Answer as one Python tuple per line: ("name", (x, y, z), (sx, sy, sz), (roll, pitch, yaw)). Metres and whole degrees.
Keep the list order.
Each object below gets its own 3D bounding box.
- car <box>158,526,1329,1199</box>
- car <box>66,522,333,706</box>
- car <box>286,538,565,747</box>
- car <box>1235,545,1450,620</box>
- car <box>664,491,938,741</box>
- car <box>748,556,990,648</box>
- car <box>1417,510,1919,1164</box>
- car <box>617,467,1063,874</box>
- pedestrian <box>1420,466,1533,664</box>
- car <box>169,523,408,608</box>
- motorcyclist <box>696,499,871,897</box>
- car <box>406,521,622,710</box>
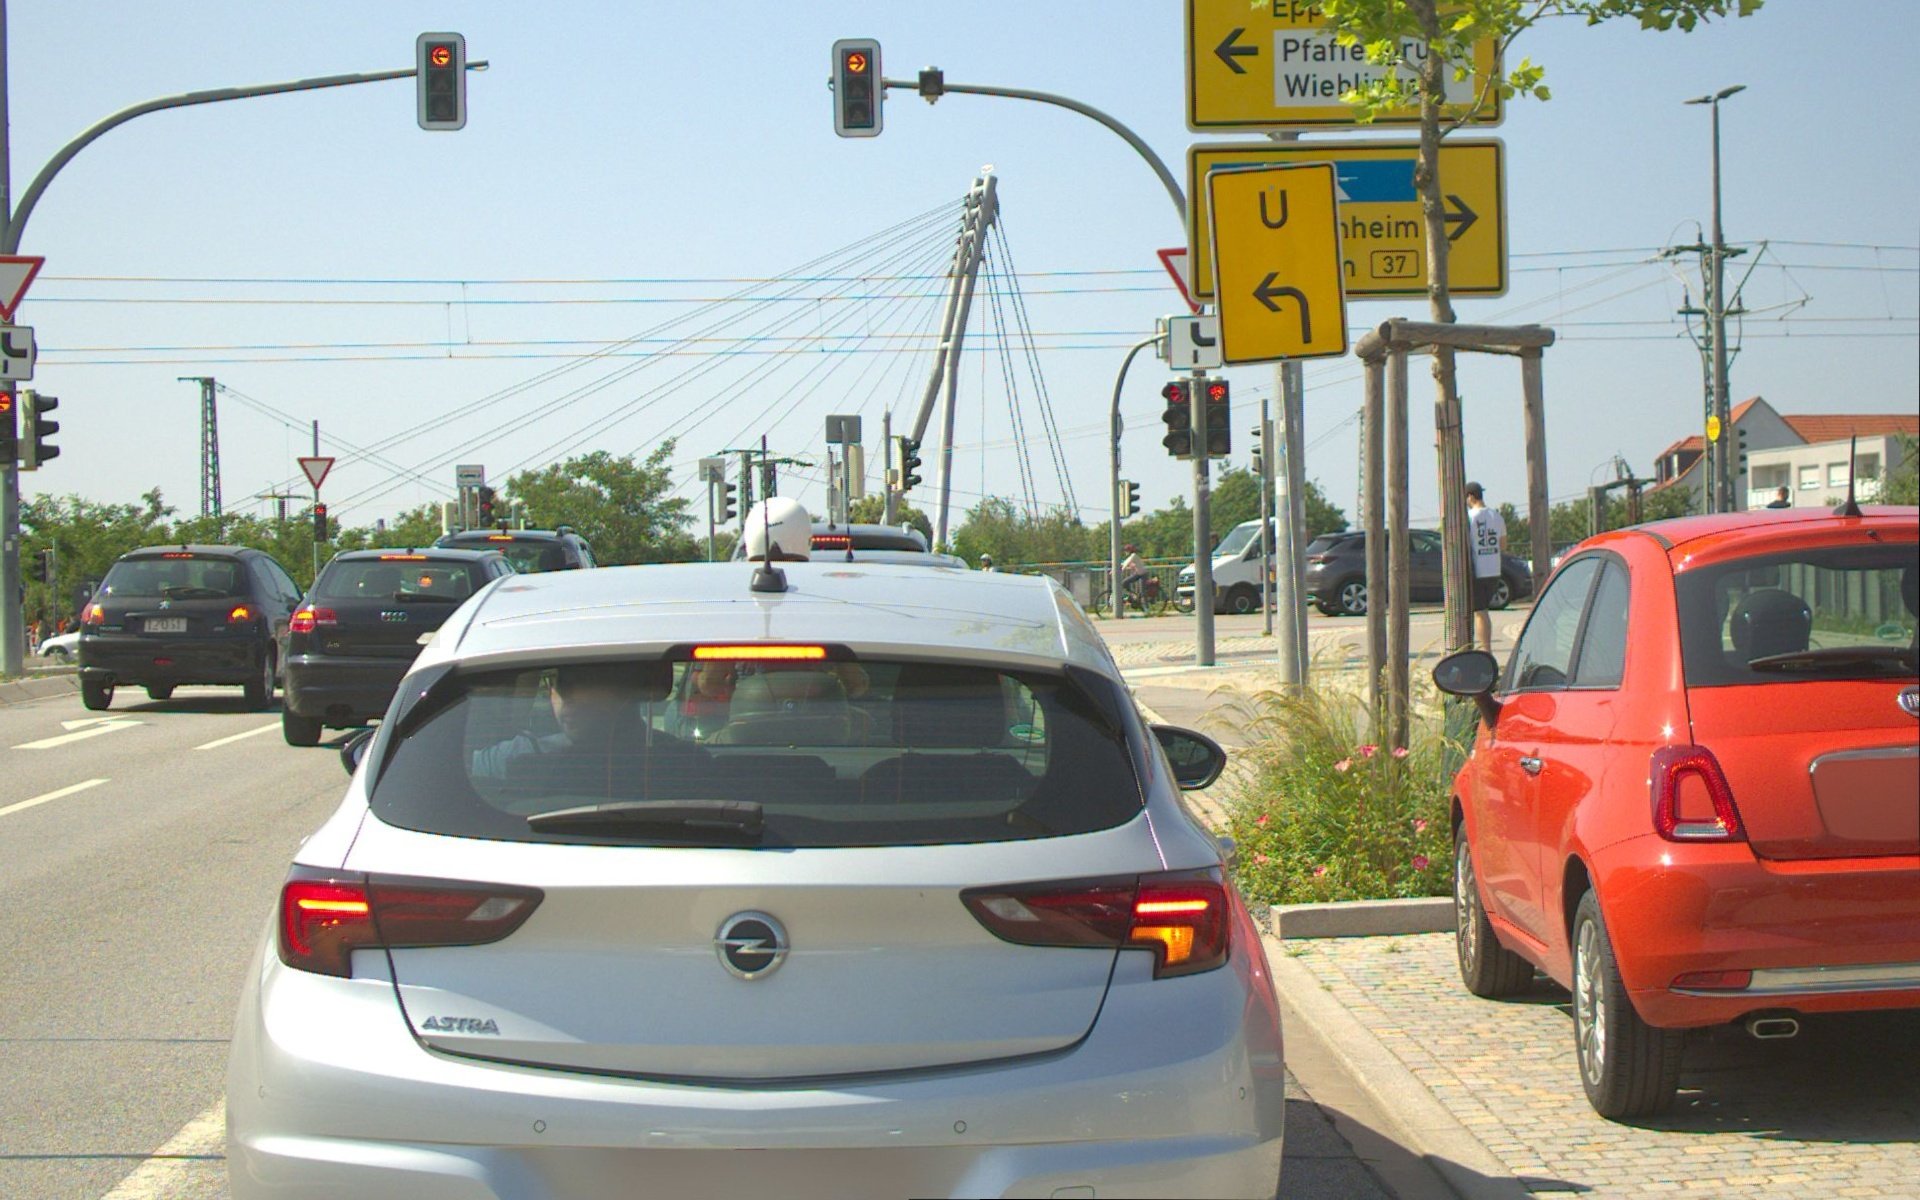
("car", (-0.429, 0.616, 7.164), (1.742, 1.473, 4.001), (1, 1, -3))
("car", (-6.794, 0.097, 31.041), (1.597, 1.542, 3.762), (1, 1, -1))
("car", (-3.921, 0.275, 25.726), (1.575, 1.429, 3.786), (1, 1, -1))
("car", (7.112, -0.328, 64.125), (3.715, 1.379, 1.586), (0, 0, -7))
("car", (-1.023, 0.044, 23.810), (1.724, 1.558, 4.000), (1, 2, 0))
("car", (-1.634, 0.029, 62.629), (4.275, 1.626, 1.755), (0, 0, 3))
("car", (2.337, 0.517, 9.770), (1.610, 1.491, 3.352), (-2, 1, 1))
("car", (-0.569, 0.262, 17.773), (1.993, 1.814, 4.402), (1, 2, -1))
("pedestrian", (4.838, -0.332, 32.236), (0.795, 1.830, 0.649), (-1, 0, -33))
("car", (-12.346, -0.640, 63.408), (3.987, 1.477, 2.000), (1, 1, 0))
("motorcyclist", (-0.626, 0.339, 12.362), (0.581, 1.384, 0.707), (1, 0, -1))
("car", (-4.040, 0.116, 31.600), (1.649, 1.610, 3.821), (1, 1, -3))
